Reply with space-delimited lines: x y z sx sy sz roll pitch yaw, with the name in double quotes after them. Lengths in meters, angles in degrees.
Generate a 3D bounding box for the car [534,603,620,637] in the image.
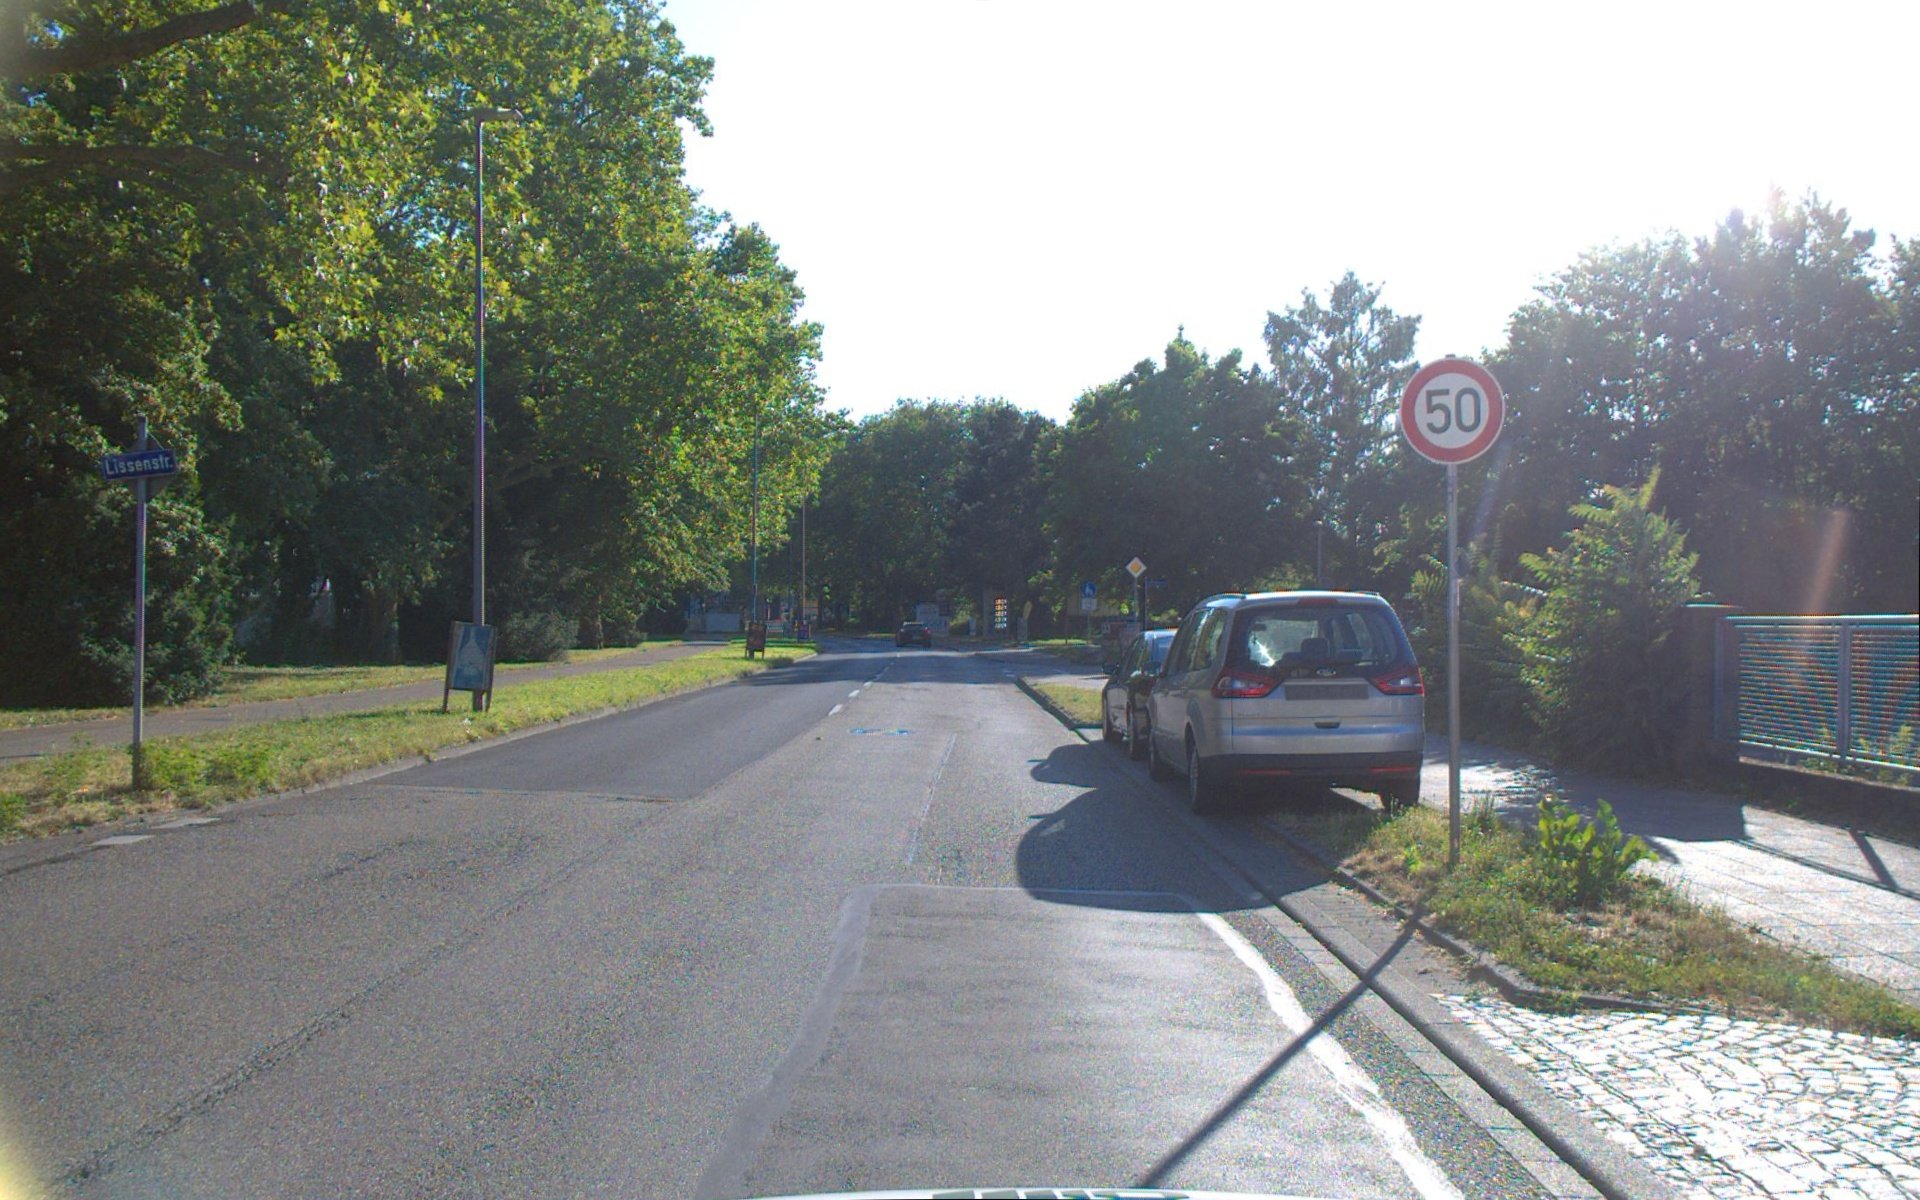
-18.963 0.992 81.999 3.912 1.534 1.909 2 -1 -8 "car"

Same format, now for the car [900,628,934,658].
-2.434 2.424 94.060 1.802 1.633 3.862 0 -1 0 "car"

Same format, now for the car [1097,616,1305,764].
2.754 0.987 19.908 1.746 1.542 4.688 -1 -1 -1 "car"

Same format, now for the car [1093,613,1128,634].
10.884 1.684 119.767 1.805 1.445 3.996 0 -1 -5 "car"

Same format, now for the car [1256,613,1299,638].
23.322 1.870 121.560 1.778 1.758 4.391 2 -1 -7 "car"

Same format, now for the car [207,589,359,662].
-20.565 0.774 50.386 3.913 2.080 1.904 1 1 -9 "car"

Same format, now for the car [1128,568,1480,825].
2.791 0.742 14.665 1.953 1.789 4.916 -3 -1 -1 "car"
